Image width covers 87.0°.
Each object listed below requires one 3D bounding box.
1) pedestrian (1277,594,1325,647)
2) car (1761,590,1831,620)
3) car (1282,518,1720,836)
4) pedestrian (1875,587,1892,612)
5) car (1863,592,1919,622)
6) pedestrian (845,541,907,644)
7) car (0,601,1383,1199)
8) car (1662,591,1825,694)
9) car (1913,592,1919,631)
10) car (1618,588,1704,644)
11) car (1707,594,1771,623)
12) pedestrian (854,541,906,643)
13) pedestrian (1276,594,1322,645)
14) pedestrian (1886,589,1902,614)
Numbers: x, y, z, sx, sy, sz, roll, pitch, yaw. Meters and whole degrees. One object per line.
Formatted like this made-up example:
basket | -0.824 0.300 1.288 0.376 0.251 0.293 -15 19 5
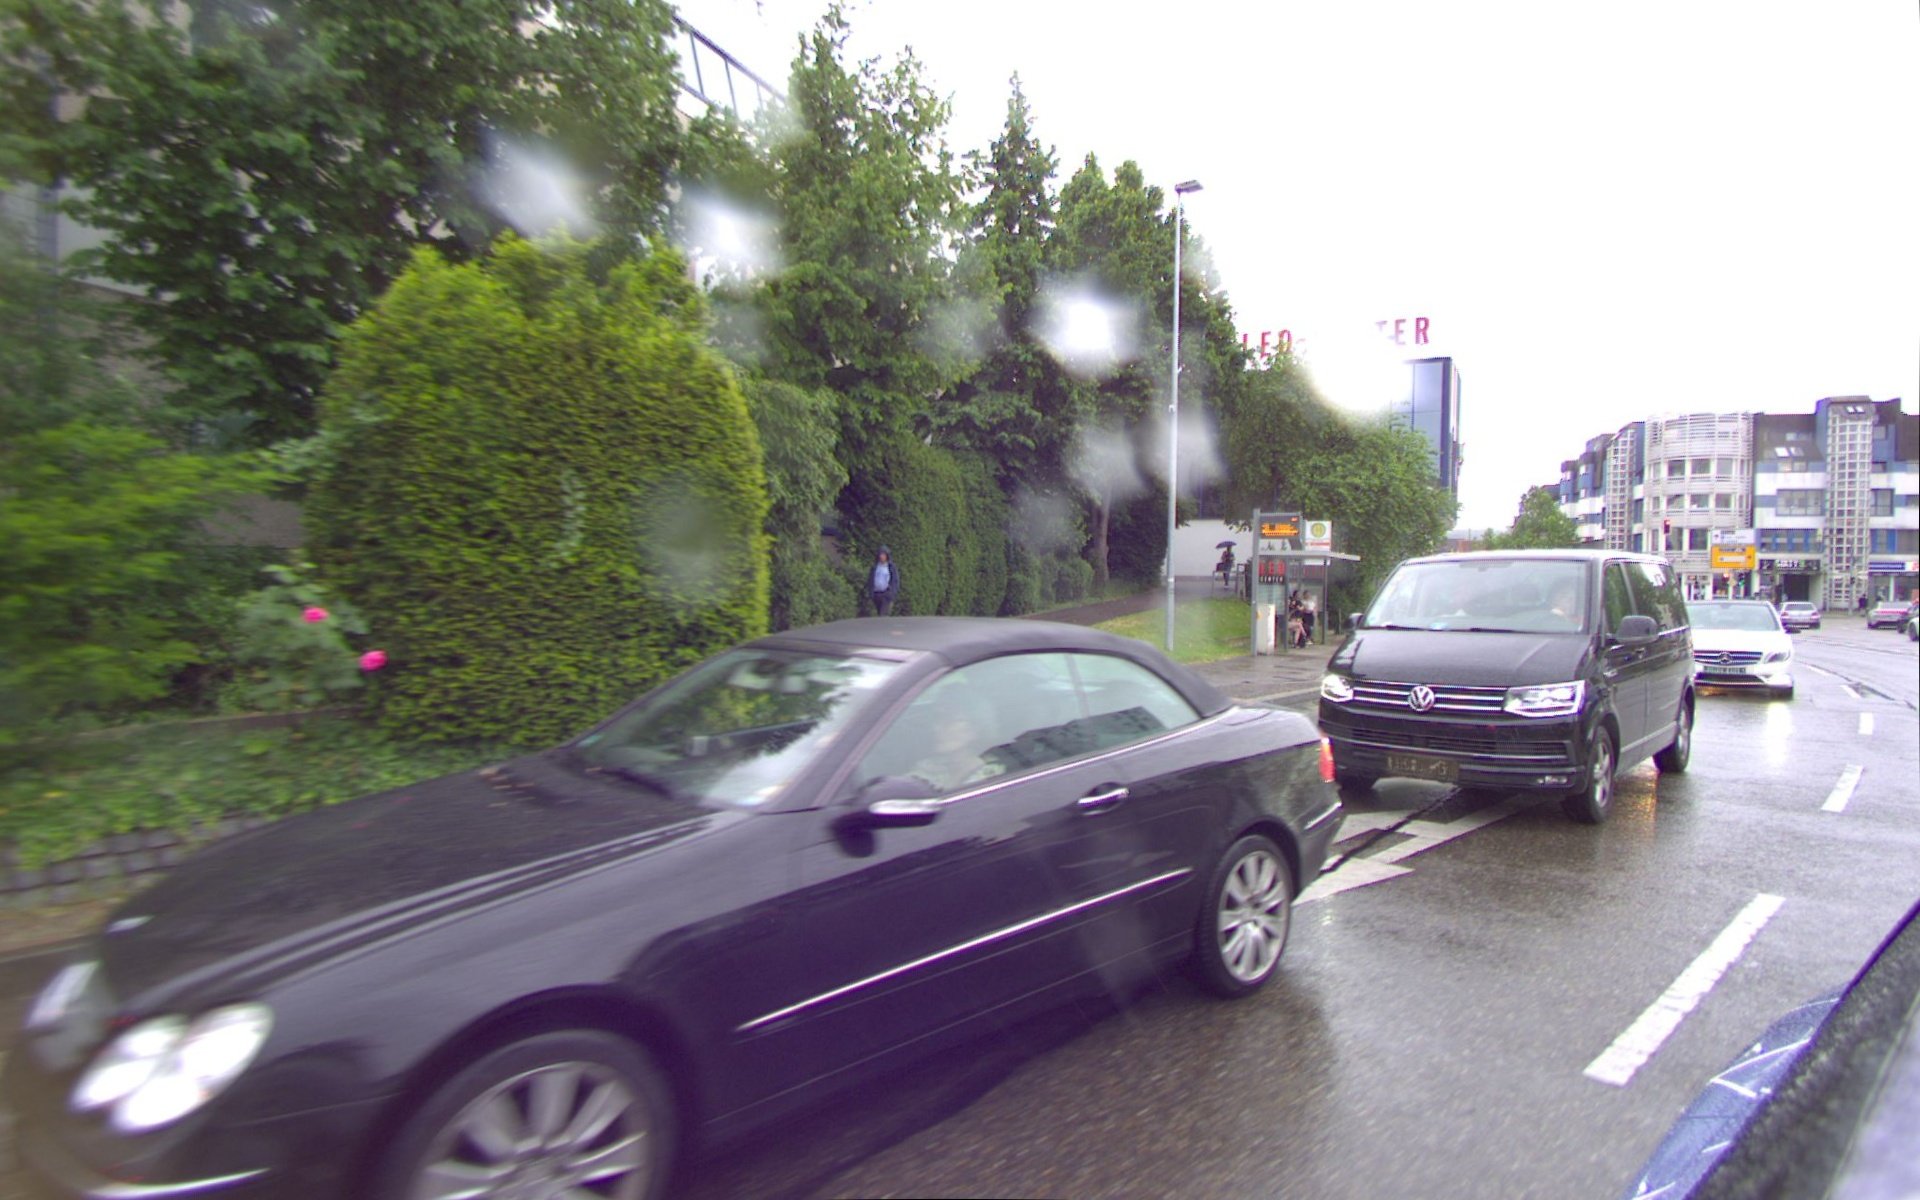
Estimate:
pedestrian | 8.901 0.511 26.401 1.024 1.297 0.685 3 2 29
car | 45.024 0.235 54.607 1.686 1.484 4.073 2 1 22
car | 4.690 0.427 8.413 4.513 1.918 1.997 -1 1 -45
pedestrian | 64.479 -0.048 70.670 0.834 1.765 0.577 0 0 37
car | 48.334 0.316 52.107 1.748 1.445 4.835 1 1 30
pedestrian | -1.533 -0.145 18.459 0.842 1.818 0.789 0 0 29
car | -0.335 0.722 3.522 4.438 1.403 1.634 0 0 -42
car | 13.629 0.636 17.514 1.757 1.569 4.257 0 0 44
car | 36.694 0.452 36.480 1.827 1.479 4.771 0 0 23
car | 20.380 0.427 29.555 1.619 1.509 3.801 1 0 28
car | 41.515 0.426 54.014 1.744 1.470 3.967 1 0 24
pedestrian | -1.453 -0.162 18.385 0.668 1.819 0.668 1 3 27
pedestrian | 9.095 0.503 27.138 1.024 1.297 0.685 3 2 29
pedestrian | 65.873 0.075 71.370 0.573 1.765 0.684 0 0 -34
